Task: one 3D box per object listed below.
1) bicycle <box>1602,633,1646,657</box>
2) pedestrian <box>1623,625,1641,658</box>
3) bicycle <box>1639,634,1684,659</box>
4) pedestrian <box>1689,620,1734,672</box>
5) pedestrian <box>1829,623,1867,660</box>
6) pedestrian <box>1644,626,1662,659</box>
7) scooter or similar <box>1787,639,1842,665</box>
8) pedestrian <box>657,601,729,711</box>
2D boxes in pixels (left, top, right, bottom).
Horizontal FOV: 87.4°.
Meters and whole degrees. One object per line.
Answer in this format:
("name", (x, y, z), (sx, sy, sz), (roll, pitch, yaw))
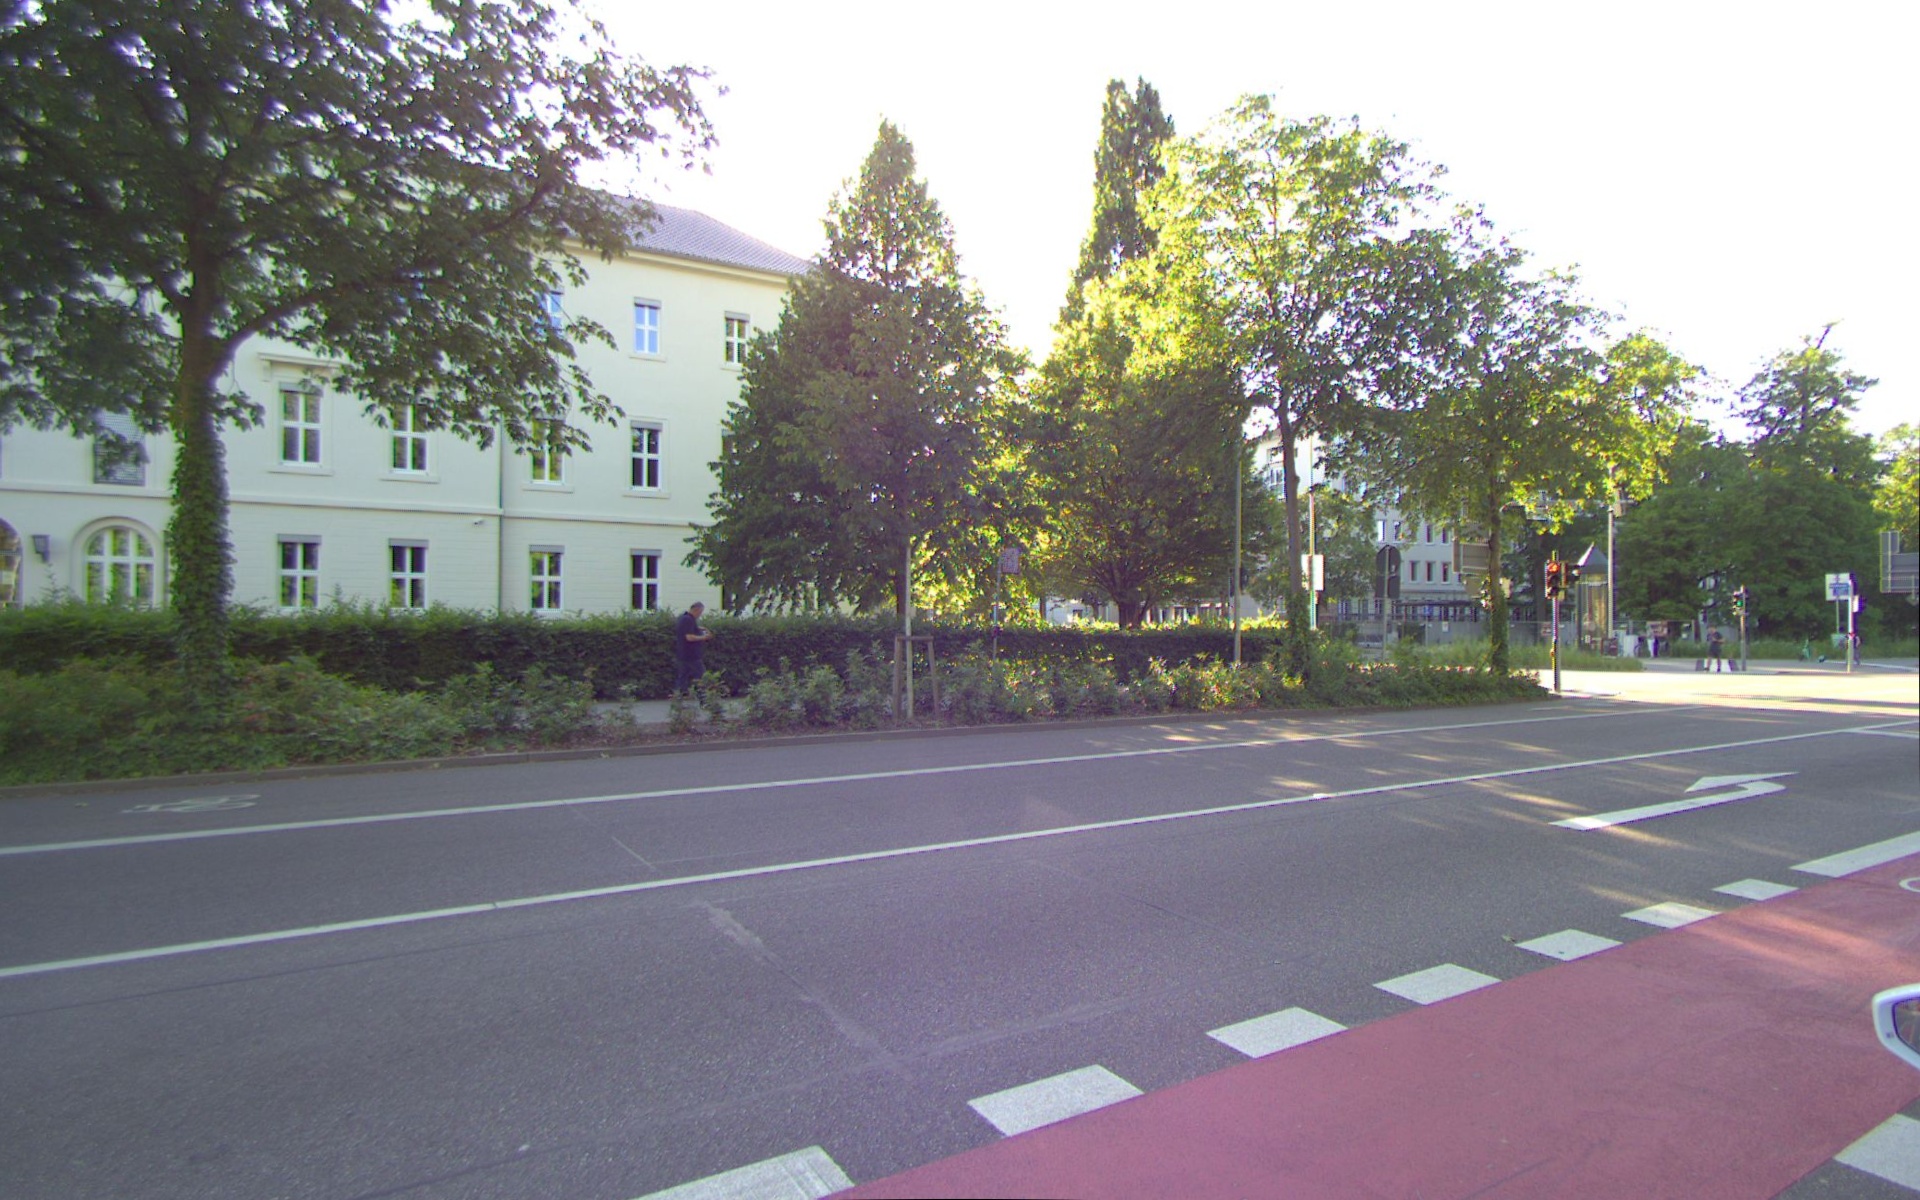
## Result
("bicycle", (34.206, 2.332, 51.751), (0.438, 1.163, 1.849), (1, -1, -36))
("pedestrian", (34.222, 2.110, 51.160), (0.442, 1.664, 0.624), (1, 0, -39))
("bicycle", (34.930, 2.316, 50.033), (0.288, 1.163, 1.849), (1, -1, -36))
("pedestrian", (30.513, 1.848, 40.780), (1.175, 2.040, 0.992), (1, 0, -25))
("pedestrian", (39.421, 1.823, 44.590), (0.992, 1.624, 1.080), (1, -2, -36))
("pedestrian", (34.567, 2.114, 50.095), (0.442, 1.601, 0.624), (1, 0, -39))
("scooter or similar", (39.587, 2.388, 46.534), (1.882, 1.139, 0.713), (1, 0, 3))
("pedestrian", (-4.367, 0.900, 16.430), (0.957, 1.743, 0.830), (1, -2, -30))
